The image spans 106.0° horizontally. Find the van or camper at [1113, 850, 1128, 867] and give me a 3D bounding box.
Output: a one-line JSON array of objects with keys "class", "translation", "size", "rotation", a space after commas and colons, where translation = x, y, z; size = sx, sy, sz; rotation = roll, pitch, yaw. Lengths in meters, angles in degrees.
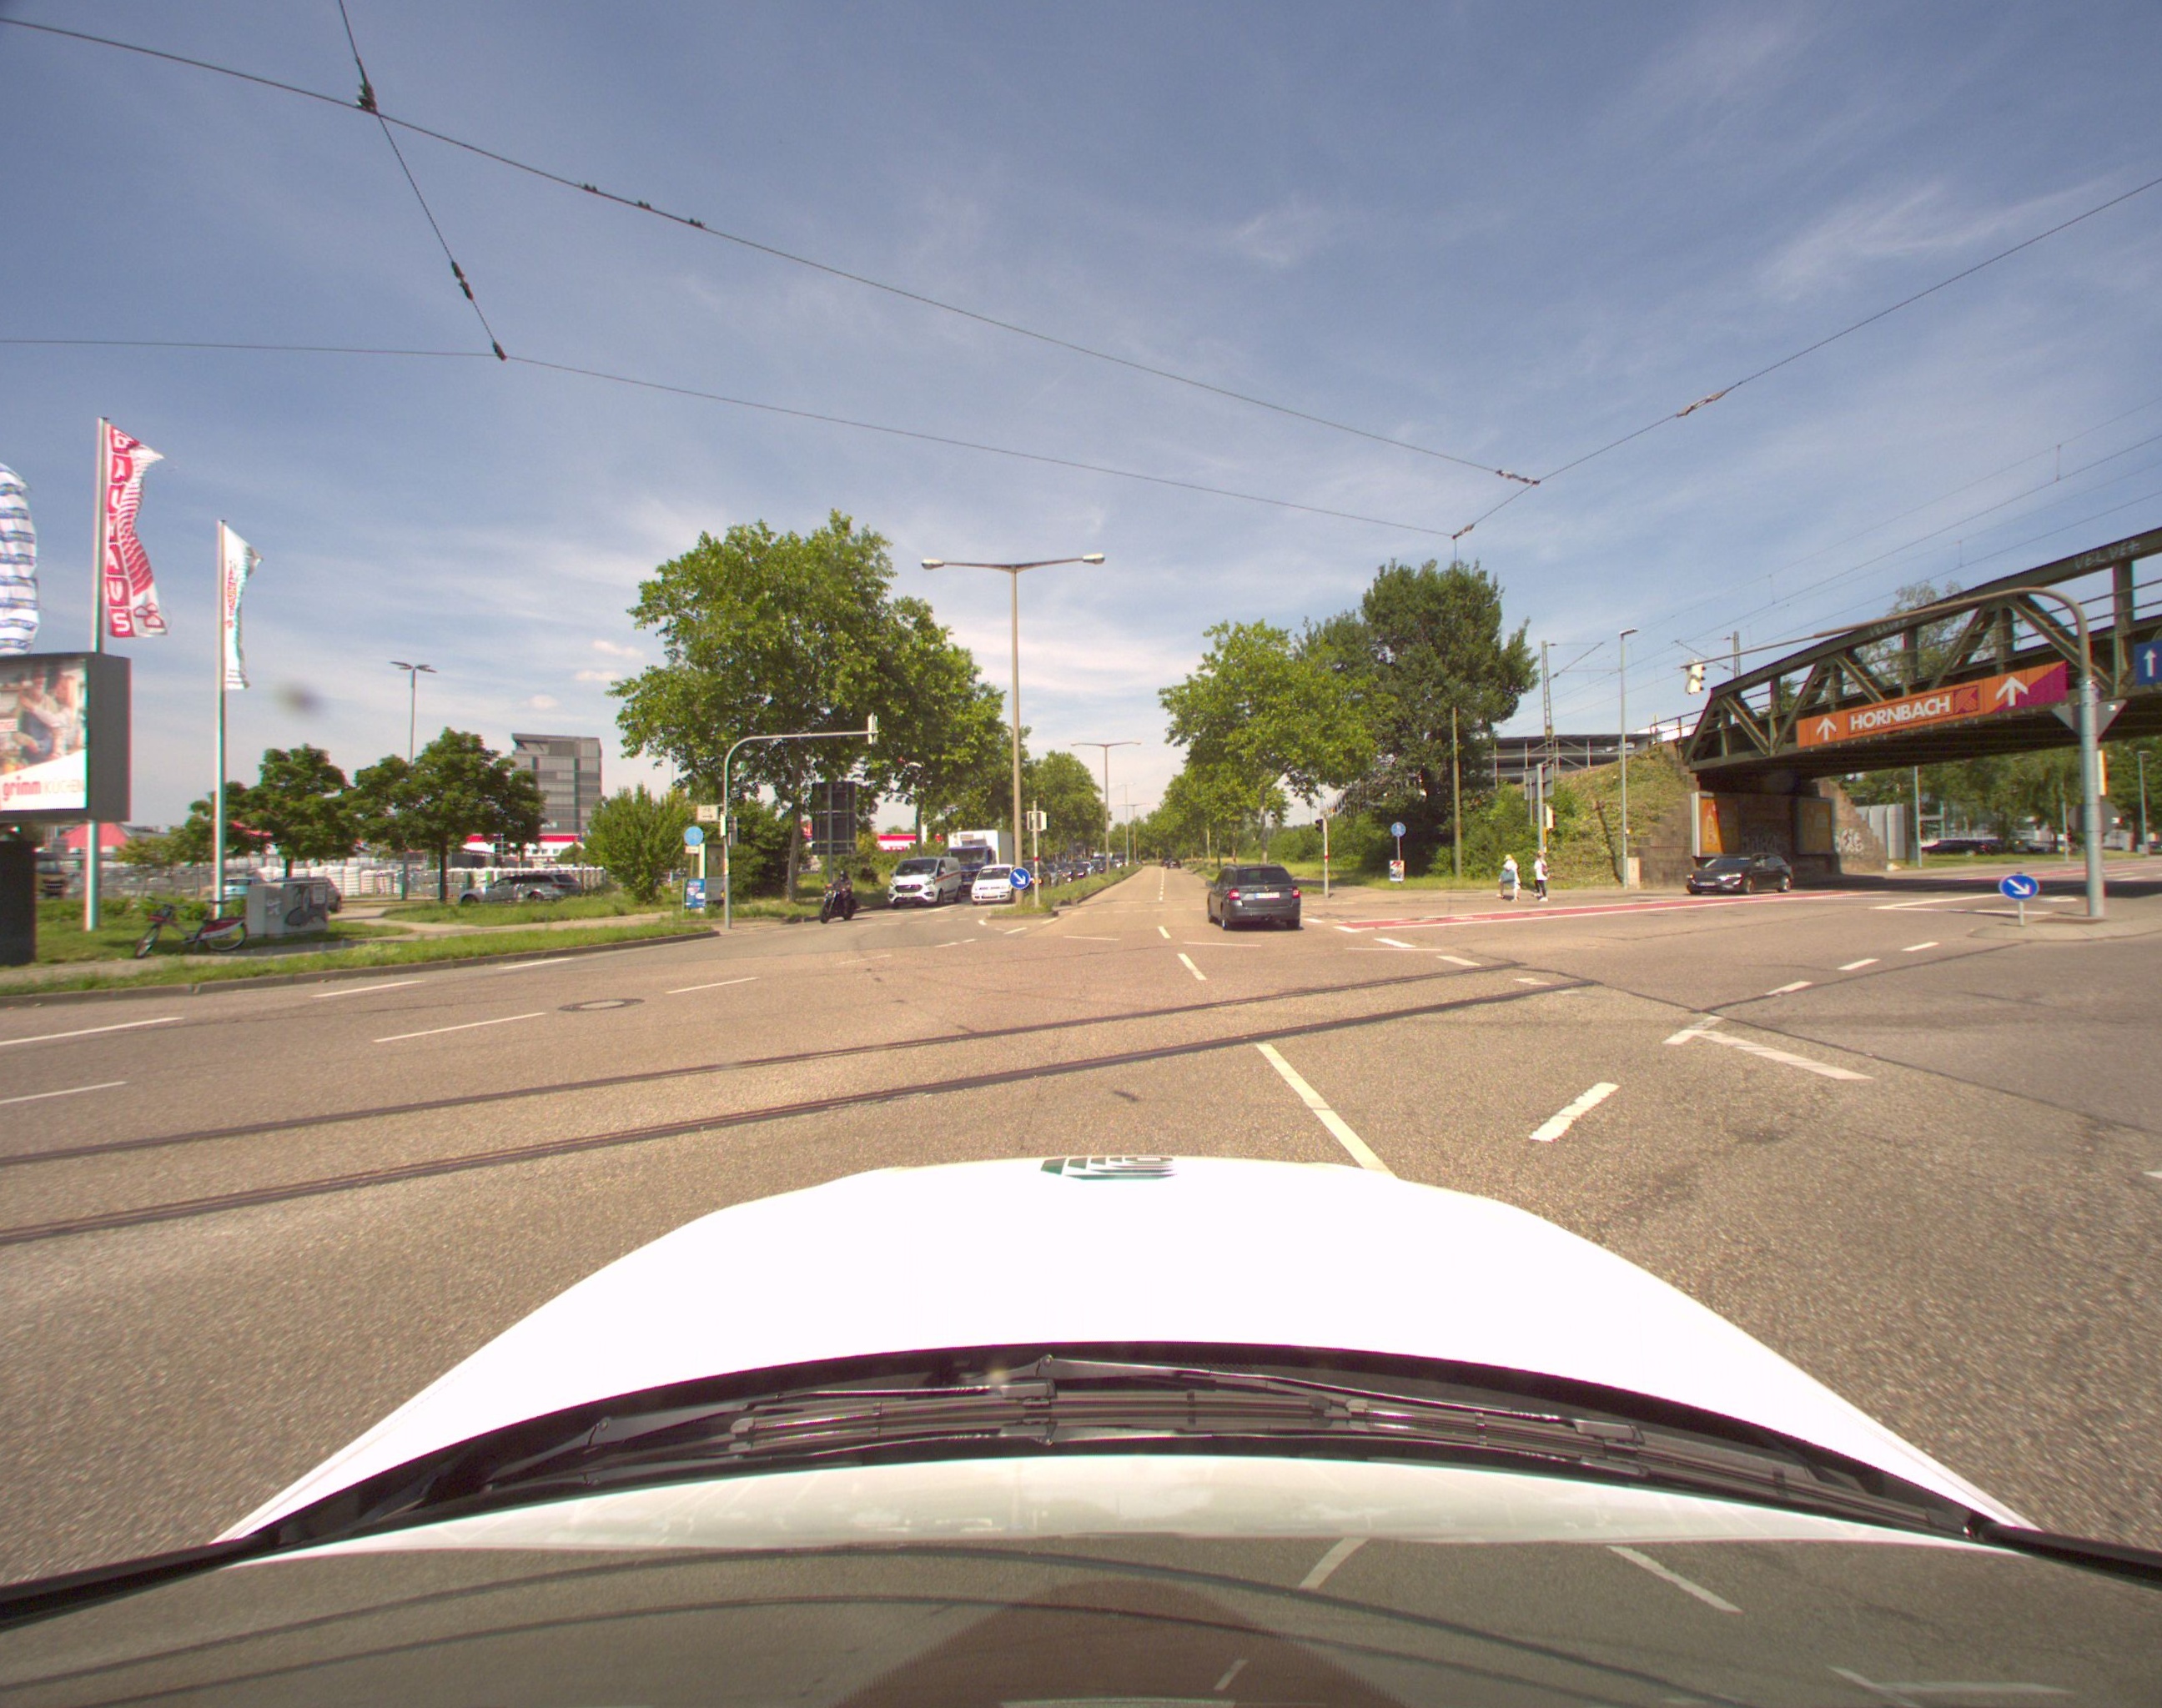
[{"class": "van or camper", "translation": [5.894, 0.705, 120.105], "size": [1.930, 2.368, 5.404], "rotation": [-2, -1, 4]}]

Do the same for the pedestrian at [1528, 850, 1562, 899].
[{"class": "pedestrian", "translation": [15.488, 0.679, 27.196], "size": [0.726, 1.579, 0.779], "rotation": [-1, 0, 5]}]

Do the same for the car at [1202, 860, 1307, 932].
[{"class": "car", "translation": [3.893, 0.886, 18.868], "size": [1.668, 1.453, 4.037], "rotation": [0, 0, 1]}]

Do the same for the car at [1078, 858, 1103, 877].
[{"class": "car", "translation": [0.877, 1.184, 71.878], "size": [1.749, 1.530, 4.835], "rotation": [-2, 0, 6]}]

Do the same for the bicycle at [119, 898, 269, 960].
[{"class": "bicycle", "translation": [-17.367, 1.436, 16.009], "size": [0.589, 1.037, 1.905], "rotation": [-1, 0, 20]}]

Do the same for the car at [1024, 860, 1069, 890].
[{"class": "car", "translation": [-1.851, 1.107, 44.957], "size": [1.787, 1.468, 4.530], "rotation": [-2, 0, 6]}]

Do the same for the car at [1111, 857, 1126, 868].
[{"class": "car", "translation": [5.139, 1.143, 111.072], "size": [1.680, 1.510, 3.821], "rotation": [-2, 0, 6]}]

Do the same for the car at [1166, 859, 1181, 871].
[{"class": "car", "translation": [12.480, 1.511, 109.856], "size": [1.898, 1.463, 4.629], "rotation": [-1, 1, 6]}]

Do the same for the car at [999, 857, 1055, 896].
[{"class": "car", "translation": [-2.440, 1.047, 38.210], "size": [1.811, 1.646, 4.701], "rotation": [-2, -1, 6]}]

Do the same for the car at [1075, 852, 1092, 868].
[{"class": "car", "translation": [0.336, 0.764, 98.488], "size": [1.680, 1.858, 4.043], "rotation": [-2, -1, 6]}]

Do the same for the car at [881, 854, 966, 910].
[{"class": "car", "translation": [-6.194, 1.037, 32.636], "size": [1.967, 1.999, 5.039], "rotation": [-1, 0, 5]}]

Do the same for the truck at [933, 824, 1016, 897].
[{"class": "truck", "translation": [-5.524, 0.310, 43.568], "size": [2.790, 3.471, 6.702], "rotation": [-3, 0, 5]}]

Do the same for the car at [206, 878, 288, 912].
[{"class": "car", "translation": [-42.697, 2.064, 41.793], "size": [1.827, 1.572, 4.238], "rotation": [-1, 0, -30]}]

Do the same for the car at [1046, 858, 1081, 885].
[{"class": "car", "translation": [-1.061, 1.073, 51.665], "size": [1.680, 1.586, 4.247], "rotation": [-2, 0, 6]}]

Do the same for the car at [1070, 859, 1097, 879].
[{"class": "car", "translation": [0.210, 1.147, 64.521], "size": [1.680, 1.472, 3.821], "rotation": [-2, 0, 6]}]

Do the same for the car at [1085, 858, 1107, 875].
[{"class": "car", "translation": [1.415, 1.178, 77.180], "size": [1.776, 1.489, 4.216], "rotation": [-2, 0, 5]}]

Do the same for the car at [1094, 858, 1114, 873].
[{"class": "car", "translation": [2.478, 1.170, 85.841], "size": [1.815, 1.465, 4.456], "rotation": [-2, 0, 4]}]

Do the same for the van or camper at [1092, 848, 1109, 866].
[{"class": "van or camper", "translation": [3.040, 0.479, 125.927], "size": [2.005, 2.587, 5.526], "rotation": [-2, 0, 6]}]

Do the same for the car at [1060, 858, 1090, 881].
[{"class": "car", "translation": [-0.380, 1.108, 58.906], "size": [1.680, 1.473, 4.225], "rotation": [-3, 0, 6]}]

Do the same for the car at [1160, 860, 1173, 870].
[{"class": "car", "translation": [14.878, 1.921, 141.847], "size": [1.900, 1.463, 4.585], "rotation": [-1, 1, 2]}]

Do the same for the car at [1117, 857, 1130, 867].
[{"class": "car", "translation": [6.691, 1.241, 127.665], "size": [1.680, 1.530, 3.820], "rotation": [-2, -1, 6]}]

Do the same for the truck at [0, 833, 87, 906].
[{"class": "truck", "translation": [-52.267, 0.752, 36.645], "size": [8.956, 3.311, 3.128], "rotation": [-1, 0, -32]}]

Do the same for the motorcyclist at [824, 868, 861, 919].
[{"class": "motorcyclist", "translation": [-7.255, 1.188, 24.838], "size": [0.739, 1.470, 0.989], "rotation": [-1, 0, 5]}]

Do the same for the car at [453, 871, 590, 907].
[{"class": "car", "translation": [-24.962, 1.549, 36.499], "size": [4.550, 1.414, 2.199], "rotation": [-1, 0, -2]}]

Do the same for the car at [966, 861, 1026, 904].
[{"class": "car", "translation": [-3.302, 1.081, 32.213], "size": [1.585, 1.477, 3.735], "rotation": [-2, 0, 6]}]

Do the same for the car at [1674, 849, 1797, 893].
[{"class": "car", "translation": [23.583, 0.576, 29.318], "size": [4.515, 1.409, 1.980], "rotation": [-1, 0, -31]}]

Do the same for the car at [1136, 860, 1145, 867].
[{"class": "car", "translation": [13.236, 2.030, 181.484], "size": [1.900, 1.463, 4.585], "rotation": [-1, 1, 2]}]

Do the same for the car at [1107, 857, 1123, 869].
[{"class": "car", "translation": [4.376, 1.164, 104.654], "size": [1.775, 1.459, 4.479], "rotation": [-2, 0, 6]}]

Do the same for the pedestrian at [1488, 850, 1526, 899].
[{"class": "pedestrian", "translation": [14.252, 0.683, 27.268], "size": [0.863, 1.611, 0.778], "rotation": [-1, 0, 5]}]

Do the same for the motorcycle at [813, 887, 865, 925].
[{"class": "motorcycle", "translation": [-7.274, 1.541, 24.611], "size": [0.684, 0.991, 2.221], "rotation": [-1, 0, 6]}]
